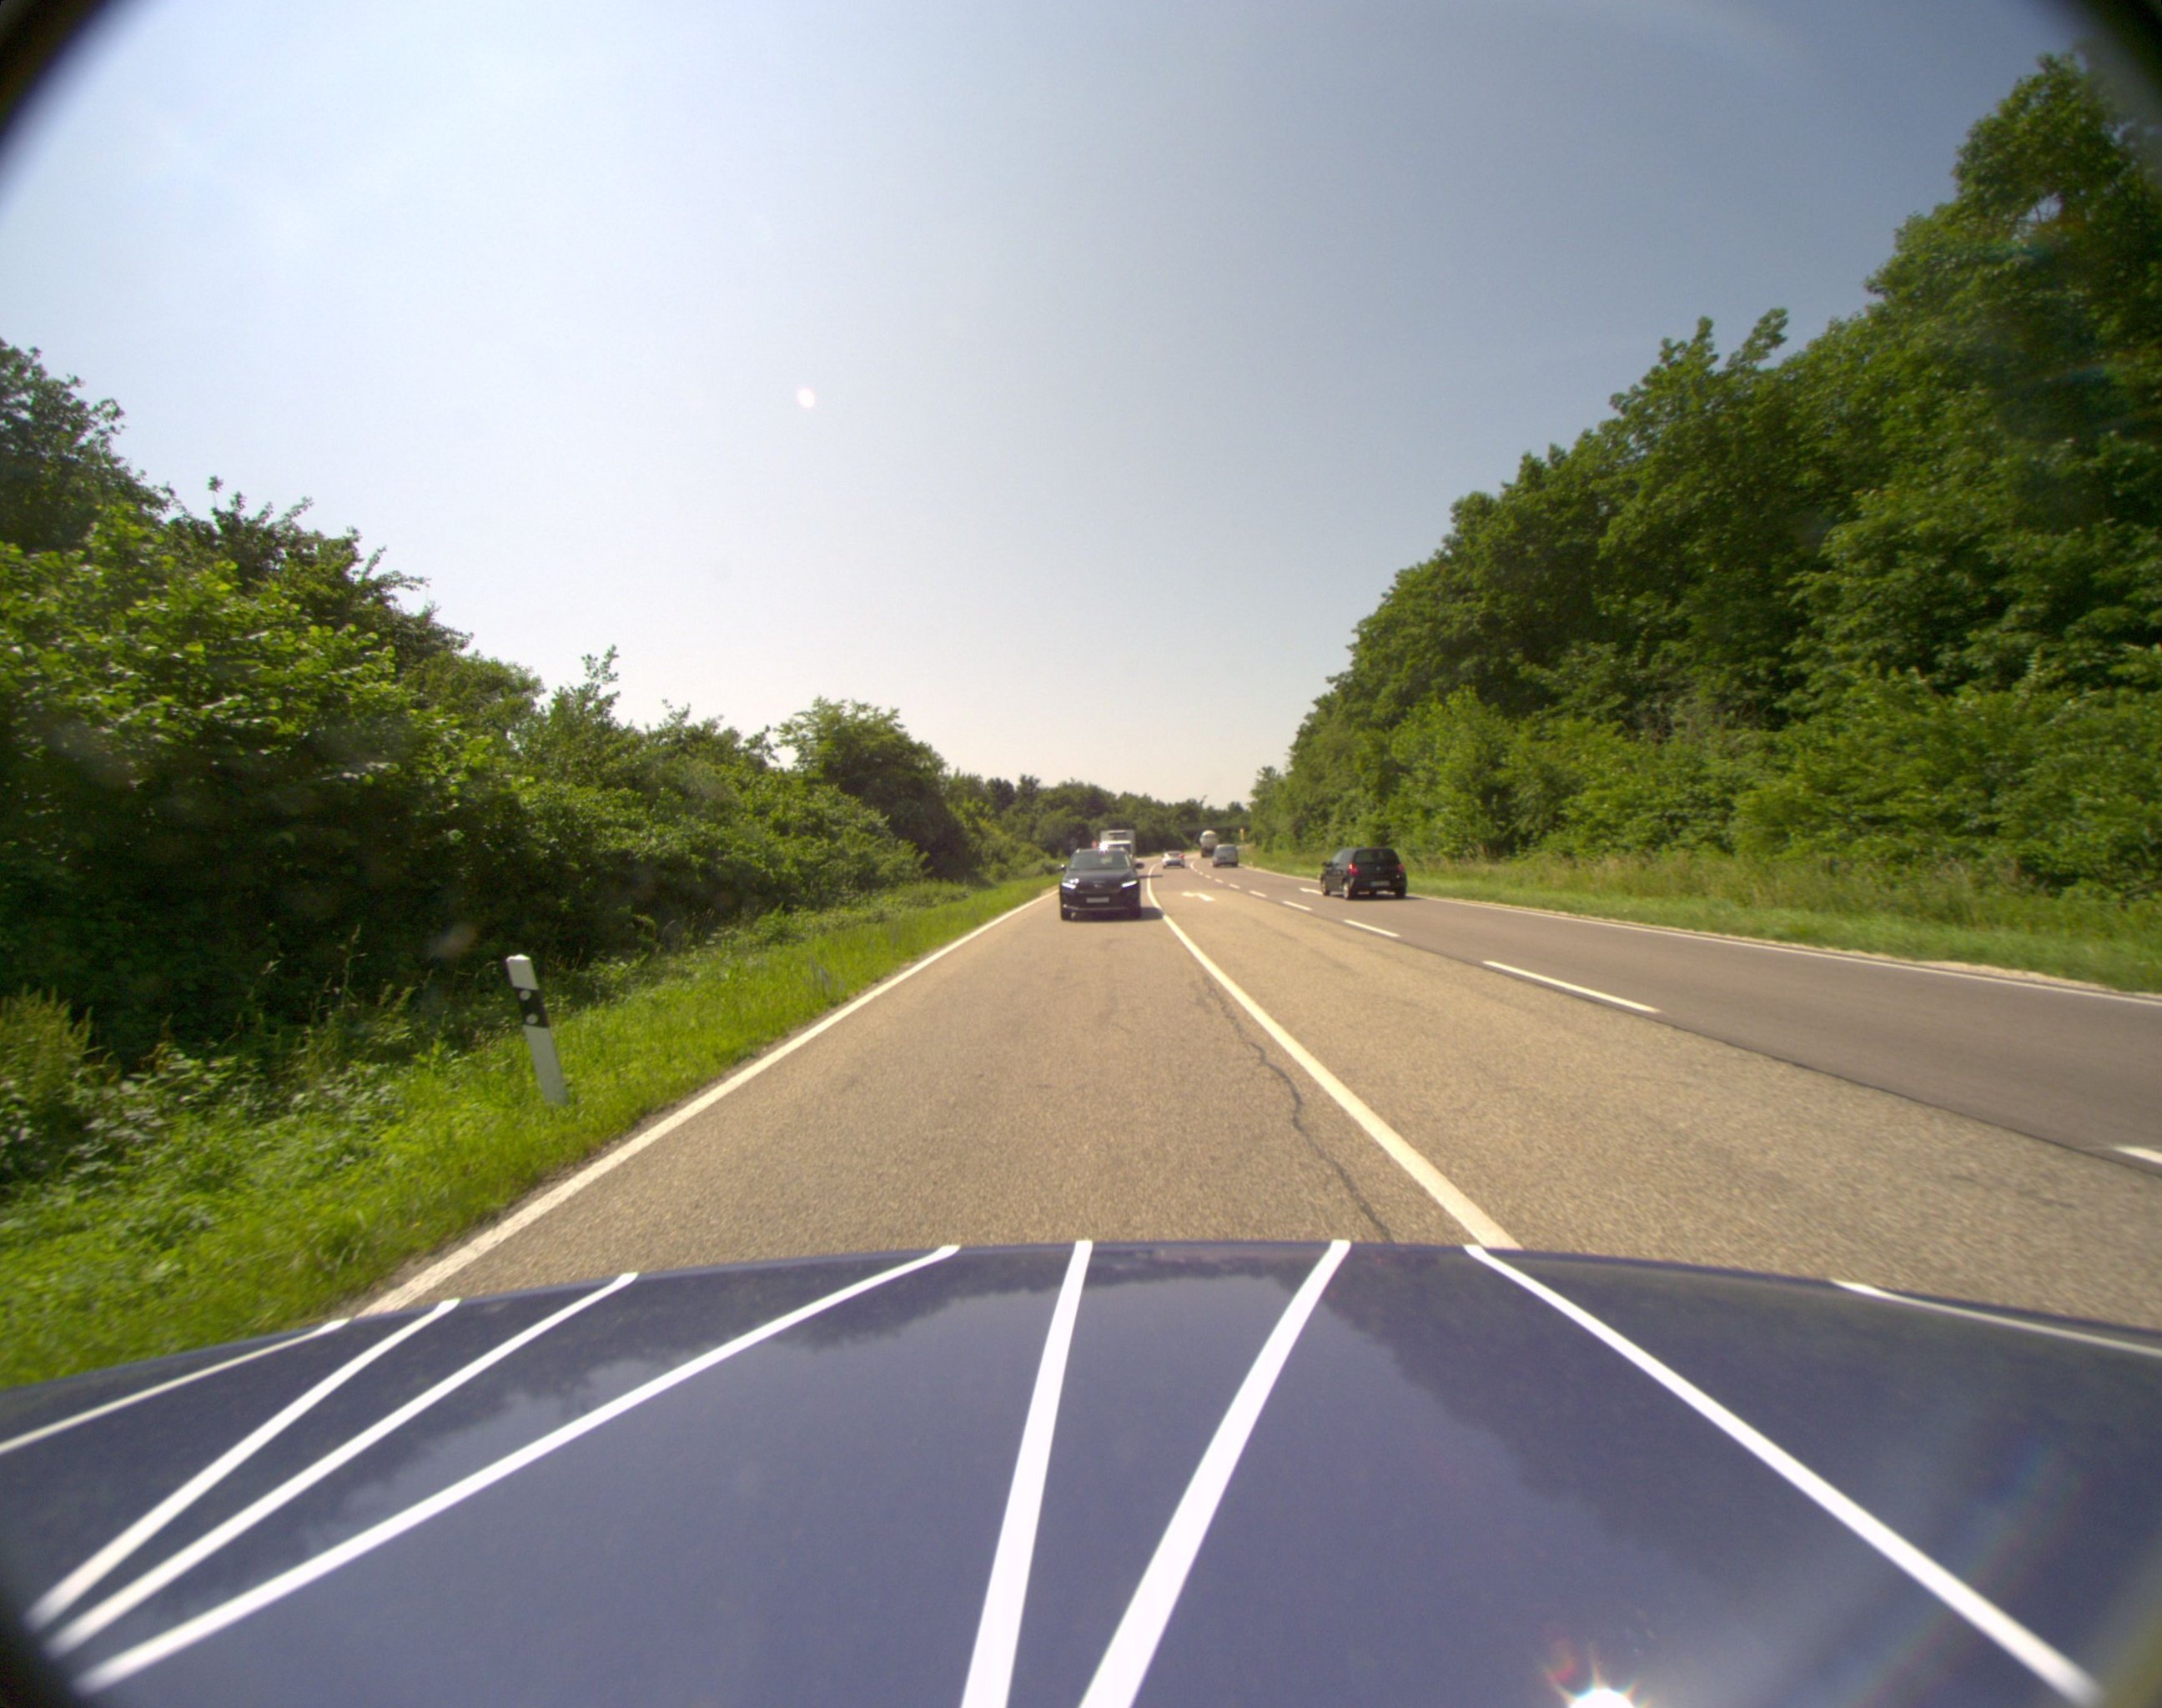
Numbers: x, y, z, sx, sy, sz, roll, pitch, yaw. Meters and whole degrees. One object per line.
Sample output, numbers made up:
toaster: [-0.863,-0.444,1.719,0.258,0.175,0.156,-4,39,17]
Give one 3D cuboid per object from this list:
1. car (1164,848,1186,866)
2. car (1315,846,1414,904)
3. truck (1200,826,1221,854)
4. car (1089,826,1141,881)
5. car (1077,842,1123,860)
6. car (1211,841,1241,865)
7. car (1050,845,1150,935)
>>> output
car: [7.934,0.229,63.910,1.712,1.411,4.099,-2,1,8]
car: [8.091,0.554,21.971,1.618,1.493,3.553,-2,0,2]
truck: [18.502,-2.028,107.992,2.631,3.650,8.802,-2,1,11]
car: [2.222,-0.123,47.231,2.590,3.047,6.883,-2,1,7]
car: [2.321,-0.401,92.317,5.230,1.896,2.011,-3,2,-9]
car: [11.666,-0.106,61.285,1.846,1.769,4.895,-2,0,6]
car: [0.465,0.733,17.914,1.924,1.711,5.479,-2,0,2]
